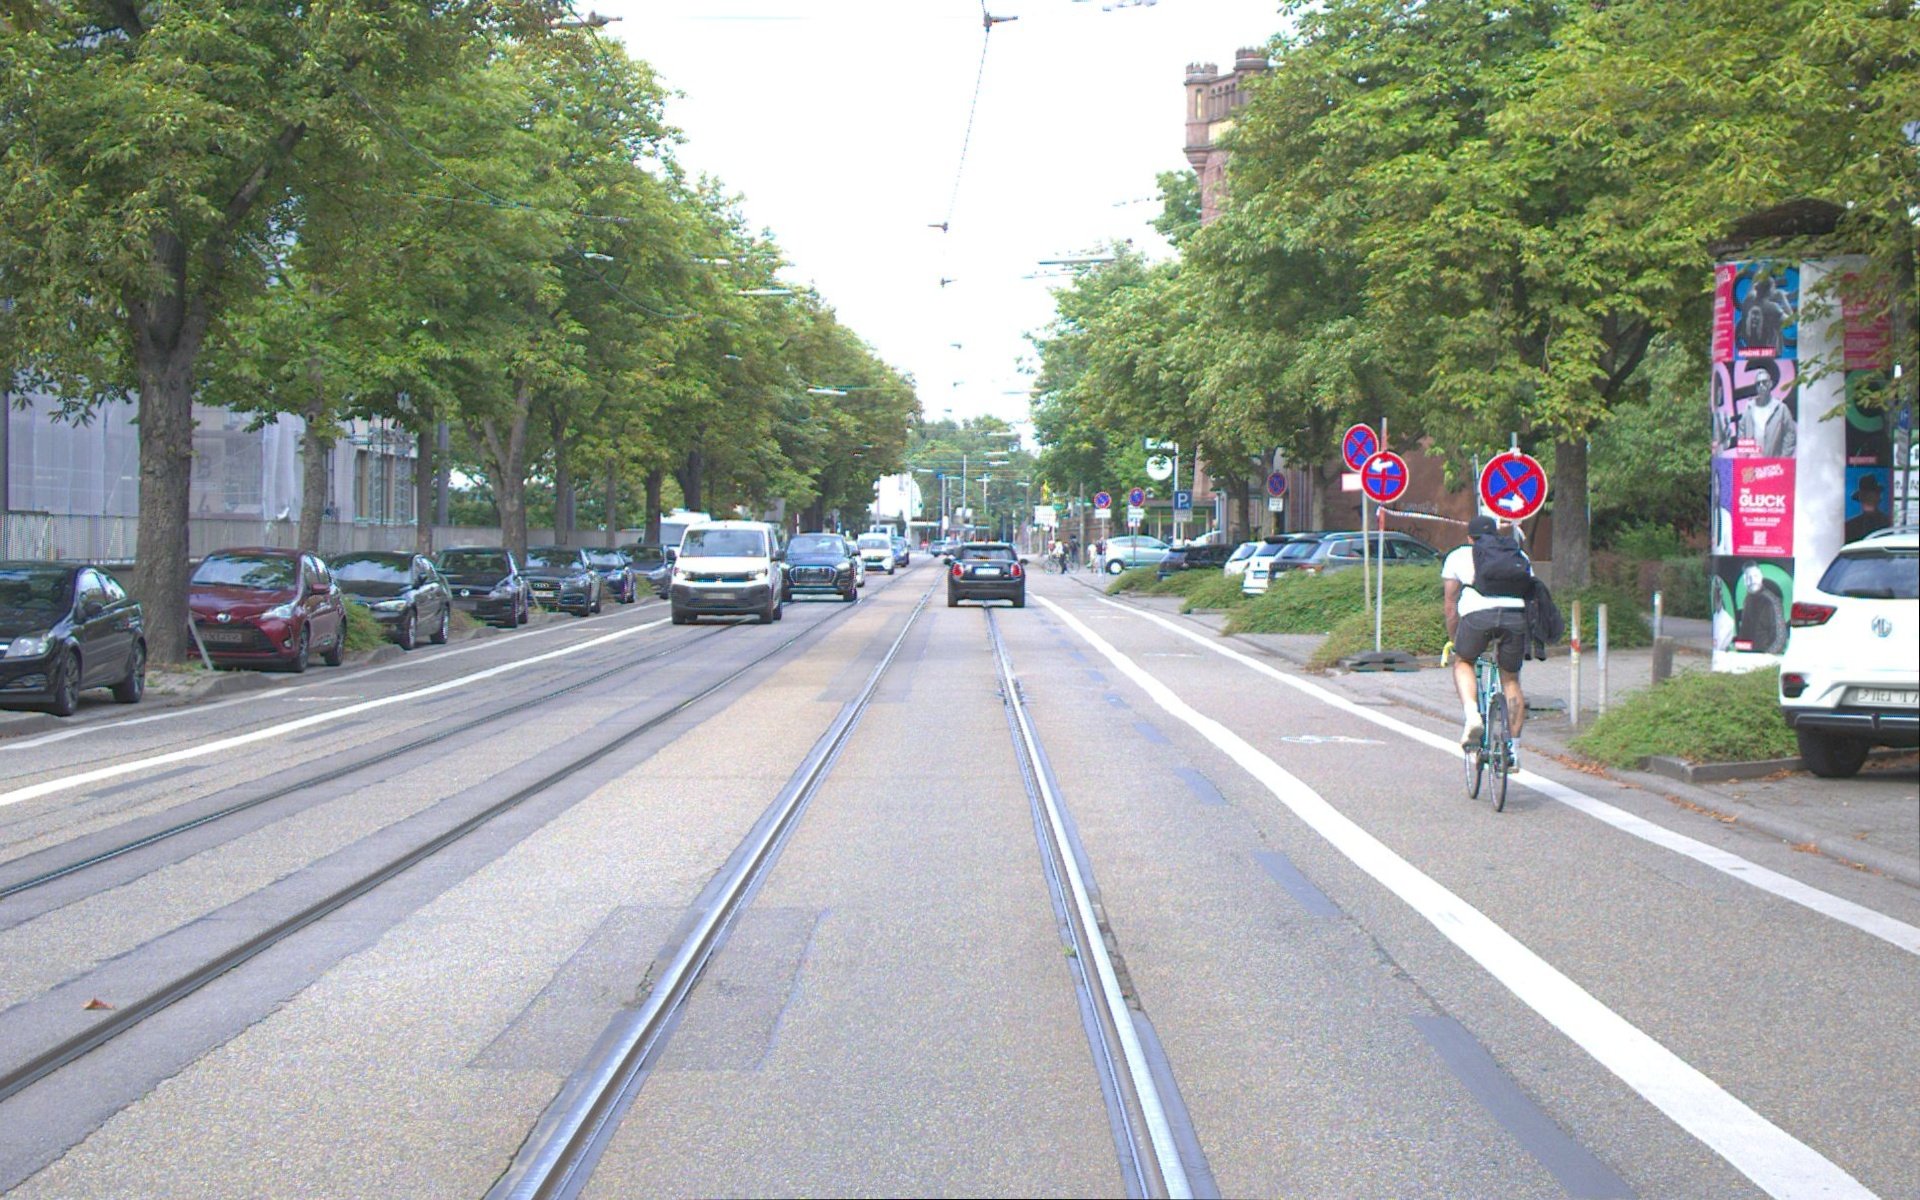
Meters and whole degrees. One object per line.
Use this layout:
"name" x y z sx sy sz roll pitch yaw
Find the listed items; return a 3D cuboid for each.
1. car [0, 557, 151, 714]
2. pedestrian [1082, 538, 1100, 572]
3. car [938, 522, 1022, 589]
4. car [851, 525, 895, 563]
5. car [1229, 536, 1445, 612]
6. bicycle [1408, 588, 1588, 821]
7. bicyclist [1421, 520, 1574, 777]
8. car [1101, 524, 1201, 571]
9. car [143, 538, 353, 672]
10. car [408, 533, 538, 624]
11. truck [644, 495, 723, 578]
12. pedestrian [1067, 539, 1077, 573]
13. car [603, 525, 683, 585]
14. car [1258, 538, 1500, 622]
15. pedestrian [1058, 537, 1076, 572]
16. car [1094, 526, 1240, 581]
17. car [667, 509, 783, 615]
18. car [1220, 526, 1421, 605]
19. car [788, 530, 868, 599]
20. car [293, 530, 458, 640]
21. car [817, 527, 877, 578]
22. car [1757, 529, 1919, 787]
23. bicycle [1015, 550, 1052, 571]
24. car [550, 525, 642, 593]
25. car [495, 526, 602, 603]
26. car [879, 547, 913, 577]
"car" -9.011 0.297 32.497 1.802 1.369 4.031 -1 1 0
"pedestrian" 6.335 -2.169 166.209 0.726 1.640 0.766 2 1 10
"car" 0.420 -1.009 76.831 1.793 1.418 4.000 1 1 0
"car" -3.732 -2.409 148.000 1.802 1.616 4.485 -1 1 0
"car" 7.422 -0.526 67.940 3.986 1.420 1.885 1 1 -3
"bicycle" 3.144 0.580 20.265 0.657 1.244 2.125 1 1 -1
"bicyclist" 3.160 0.262 20.291 0.657 1.458 1.179 1 1 -1
"car" 8.059 -2.226 145.144 3.986 1.904 2.000 1 1 -2
"car" -8.819 0.026 42.886 1.802 1.578 4.031 -1 1 0
"car" -8.819 -0.410 62.488 1.802 1.578 4.031 -1 1 0
"truck" -8.518 -1.964 106.135 2.071 2.462 4.899 -1 1 0
"pedestrian" 6.600 -2.586 202.034 0.518 2.007 0.480 1 1 4
"car" -8.563 -1.238 93.082 1.802 1.578 4.031 -1 1 0
"car" 7.403 -0.362 61.039 3.986 1.420 1.885 1 1 -3
"pedestrian" 5.179 -2.218 167.089 0.726 1.640 0.766 2 1 10
"car" 5.937 -1.343 98.982 3.986 1.503 1.885 1 1 -3
"car" -4.195 -0.703 61.936 1.802 1.817 4.485 -1 1 0
"car" 7.666 -0.750 73.339 3.986 1.622 1.885 1 1 -3
"car" -3.185 -0.889 83.785 1.802 1.616 4.485 -1 1 0
"car" -8.752 -0.258 51.754 1.802 1.578 4.031 -1 1 0
"car" -3.629 -1.542 111.174 1.802 1.616 4.485 -1 1 0
"car" 6.933 0.343 22.433 3.437 1.567 1.560 0 1 -38
"bicycle" 3.570 -1.937 167.186 1.721 0.988 0.658 2 1 9
"car" -8.698 -0.988 82.467 1.802 1.578 4.031 -1 1 0
"car" -8.674 -0.767 72.720 1.802 1.578 4.031 -1 1 0
"car" -3.454 -2.087 187.362 1.802 1.616 4.485 -1 1 0
